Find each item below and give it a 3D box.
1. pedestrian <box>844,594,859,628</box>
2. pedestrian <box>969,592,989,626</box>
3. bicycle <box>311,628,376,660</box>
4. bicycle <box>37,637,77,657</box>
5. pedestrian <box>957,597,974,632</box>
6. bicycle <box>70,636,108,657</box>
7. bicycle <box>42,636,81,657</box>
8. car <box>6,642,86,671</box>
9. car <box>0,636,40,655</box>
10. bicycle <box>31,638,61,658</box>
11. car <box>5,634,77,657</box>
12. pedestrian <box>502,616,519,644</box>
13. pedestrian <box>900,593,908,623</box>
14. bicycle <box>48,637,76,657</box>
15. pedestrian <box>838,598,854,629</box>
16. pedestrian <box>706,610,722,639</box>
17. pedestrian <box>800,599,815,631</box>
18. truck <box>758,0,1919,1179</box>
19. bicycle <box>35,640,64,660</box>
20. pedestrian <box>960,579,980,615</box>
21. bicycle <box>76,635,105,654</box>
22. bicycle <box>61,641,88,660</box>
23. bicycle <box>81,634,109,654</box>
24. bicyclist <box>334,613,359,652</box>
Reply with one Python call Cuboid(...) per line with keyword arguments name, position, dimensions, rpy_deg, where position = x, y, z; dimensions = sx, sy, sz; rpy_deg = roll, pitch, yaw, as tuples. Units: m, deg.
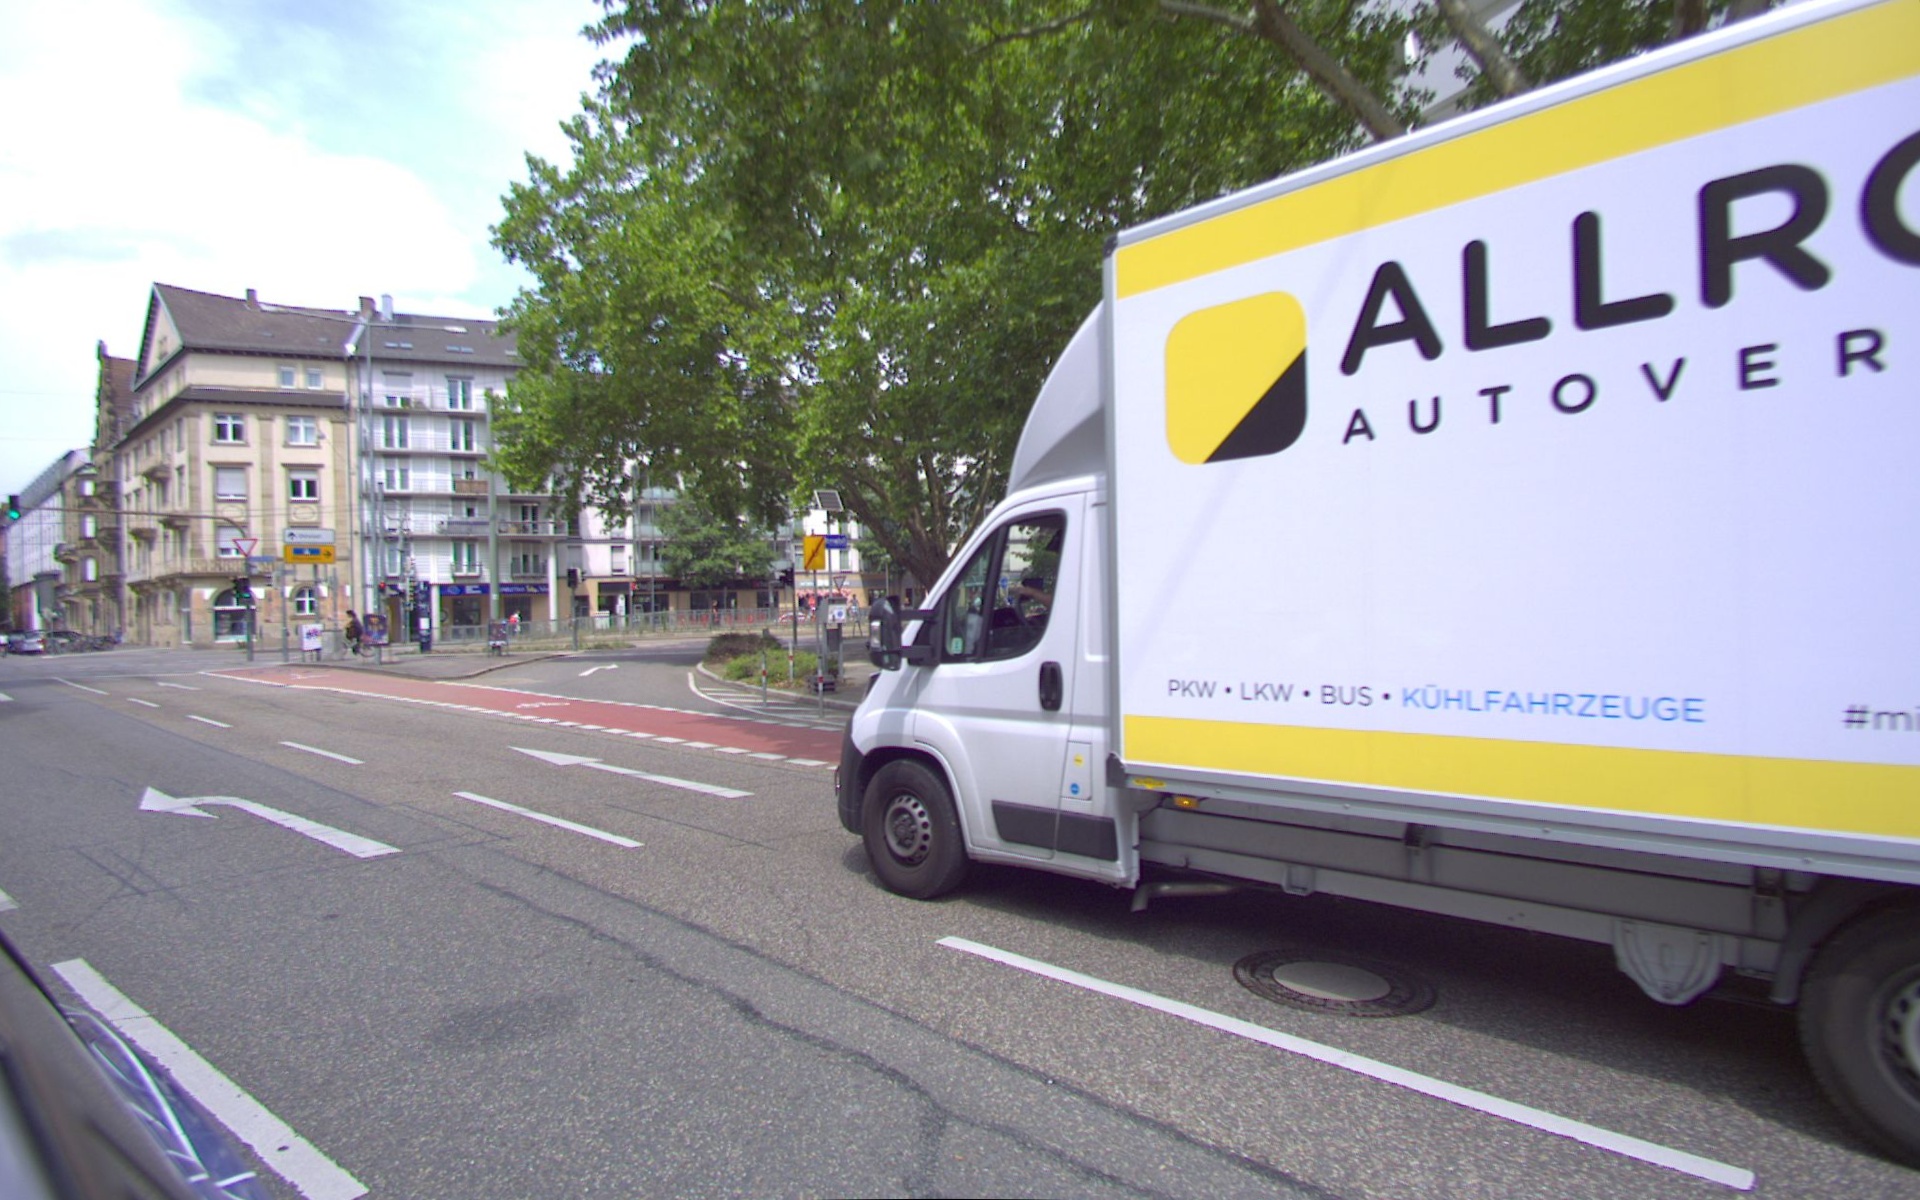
Cuboid(name="pedestrian", position=(-7.375, 0.767, 68.824), dimensions=(0.744, 2.267, 0.763), rpy_deg=(-1, -1, -23))
Cuboid(name="pedestrian", position=(1.134, 0.535, 61.456), dimensions=(0.858, 2.029, 0.855), rpy_deg=(-2, -1, -25))
Cuboid(name="bicycle", position=(-22.101, 1.576, 36.317), dimensions=(1.937, 1.103, 0.628), rpy_deg=(1, -2, -31))
Cuboid(name="bicycle", position=(-58.378, 3.035, 65.408), dimensions=(1.844, 1.201, 0.457), rpy_deg=(-2, -1, -29))
Cuboid(name="pedestrian", position=(0.278, 0.711, 48.366), dimensions=(0.497, 1.636, 0.698), rpy_deg=(-1, -1, -27))
Cuboid(name="bicycle", position=(-57.775, 3.075, 67.123), dimensions=(0.397, 1.201, 1.807), rpy_deg=(-4, 0, 41))
Cuboid(name="bicycle", position=(-58.959, 3.029, 66.439), dimensions=(0.397, 1.201, 1.799), rpy_deg=(-3, 2, 38))
Cuboid(name="car", position=(-63.529, 3.906, 70.443), dimensions=(1.736, 1.601, 4.033), rpy_deg=(-5, 1, 3))
Cuboid(name="car", position=(-81.826, 3.955, 86.985), dimensions=(1.738, 1.547, 3.819), rpy_deg=(-2, -1, 7))
Cuboid(name="bicycle", position=(-60.376, 3.144, 66.866), dimensions=(0.396, 1.201, 1.330), rpy_deg=(-3, 2, 35))
Cuboid(name="car", position=(-67.864, 3.322, 74.783), dimensions=(1.736, 1.547, 3.824), rpy_deg=(-2, -1, 3))
Cuboid(name="pedestrian", position=(-26.127, 1.734, 58.831), dimensions=(0.824, 1.564, 0.871), rpy_deg=(-1, -1, -25))
Cuboid(name="pedestrian", position=(-3.877, 0.573, 70.011), dimensions=(0.363, 2.029, 0.503), rpy_deg=(-1, -1, -25))
Cuboid(name="bicycle", position=(-59.396, 3.112, 66.941), dimensions=(0.397, 1.201, 1.329), rpy_deg=(-3, 1, 38))
Cuboid(name="pedestrian", position=(-7.575, 0.920, 67.242), dimensions=(0.744, 2.029, 0.763), rpy_deg=(-1, -1, -23))
Cuboid(name="pedestrian", position=(-13.343, 1.323, 54.897), dimensions=(0.588, 1.564, 0.672), rpy_deg=(-1, -1, -31))
Cuboid(name="pedestrian", position=(-9.887, 0.996, 65.493), dimensions=(0.744, 2.029, 0.763), rpy_deg=(-1, -1, -23))
Cuboid(name="truck", position=(2.262, -0.162, 4.129), dimensions=(7.021, 3.131, 2.513), rpy_deg=(-2, -2, 44))
Cuboid(name="bicycle", position=(-60.772, 3.316, 67.518), dimensions=(0.397, 1.201, 1.328), rpy_deg=(-3, 2, 40))
Cuboid(name="pedestrian", position=(0.476, -0.130, 47.686), dimensions=(0.673, 1.648, 0.698), rpy_deg=(-1, -1, -27))
Cuboid(name="bicycle", position=(-58.501, 2.991, 68.085), dimensions=(0.397, 1.201, 1.330), rpy_deg=(-3, 2, 36))
Cuboid(name="bicycle", position=(-59.703, 3.416, 68.219), dimensions=(0.397, 1.201, 1.328), rpy_deg=(-3, -1, 40))
Cuboid(name="bicycle", position=(-57.964, 2.956, 67.815), dimensions=(0.397, 1.201, 1.330), rpy_deg=(-3, 2, 36))
Cuboid(name="bicyclist", position=(-22.029, 1.155, 36.346), dimensions=(0.740, 1.352, 0.493), rpy_deg=(-2, -1, -30))
